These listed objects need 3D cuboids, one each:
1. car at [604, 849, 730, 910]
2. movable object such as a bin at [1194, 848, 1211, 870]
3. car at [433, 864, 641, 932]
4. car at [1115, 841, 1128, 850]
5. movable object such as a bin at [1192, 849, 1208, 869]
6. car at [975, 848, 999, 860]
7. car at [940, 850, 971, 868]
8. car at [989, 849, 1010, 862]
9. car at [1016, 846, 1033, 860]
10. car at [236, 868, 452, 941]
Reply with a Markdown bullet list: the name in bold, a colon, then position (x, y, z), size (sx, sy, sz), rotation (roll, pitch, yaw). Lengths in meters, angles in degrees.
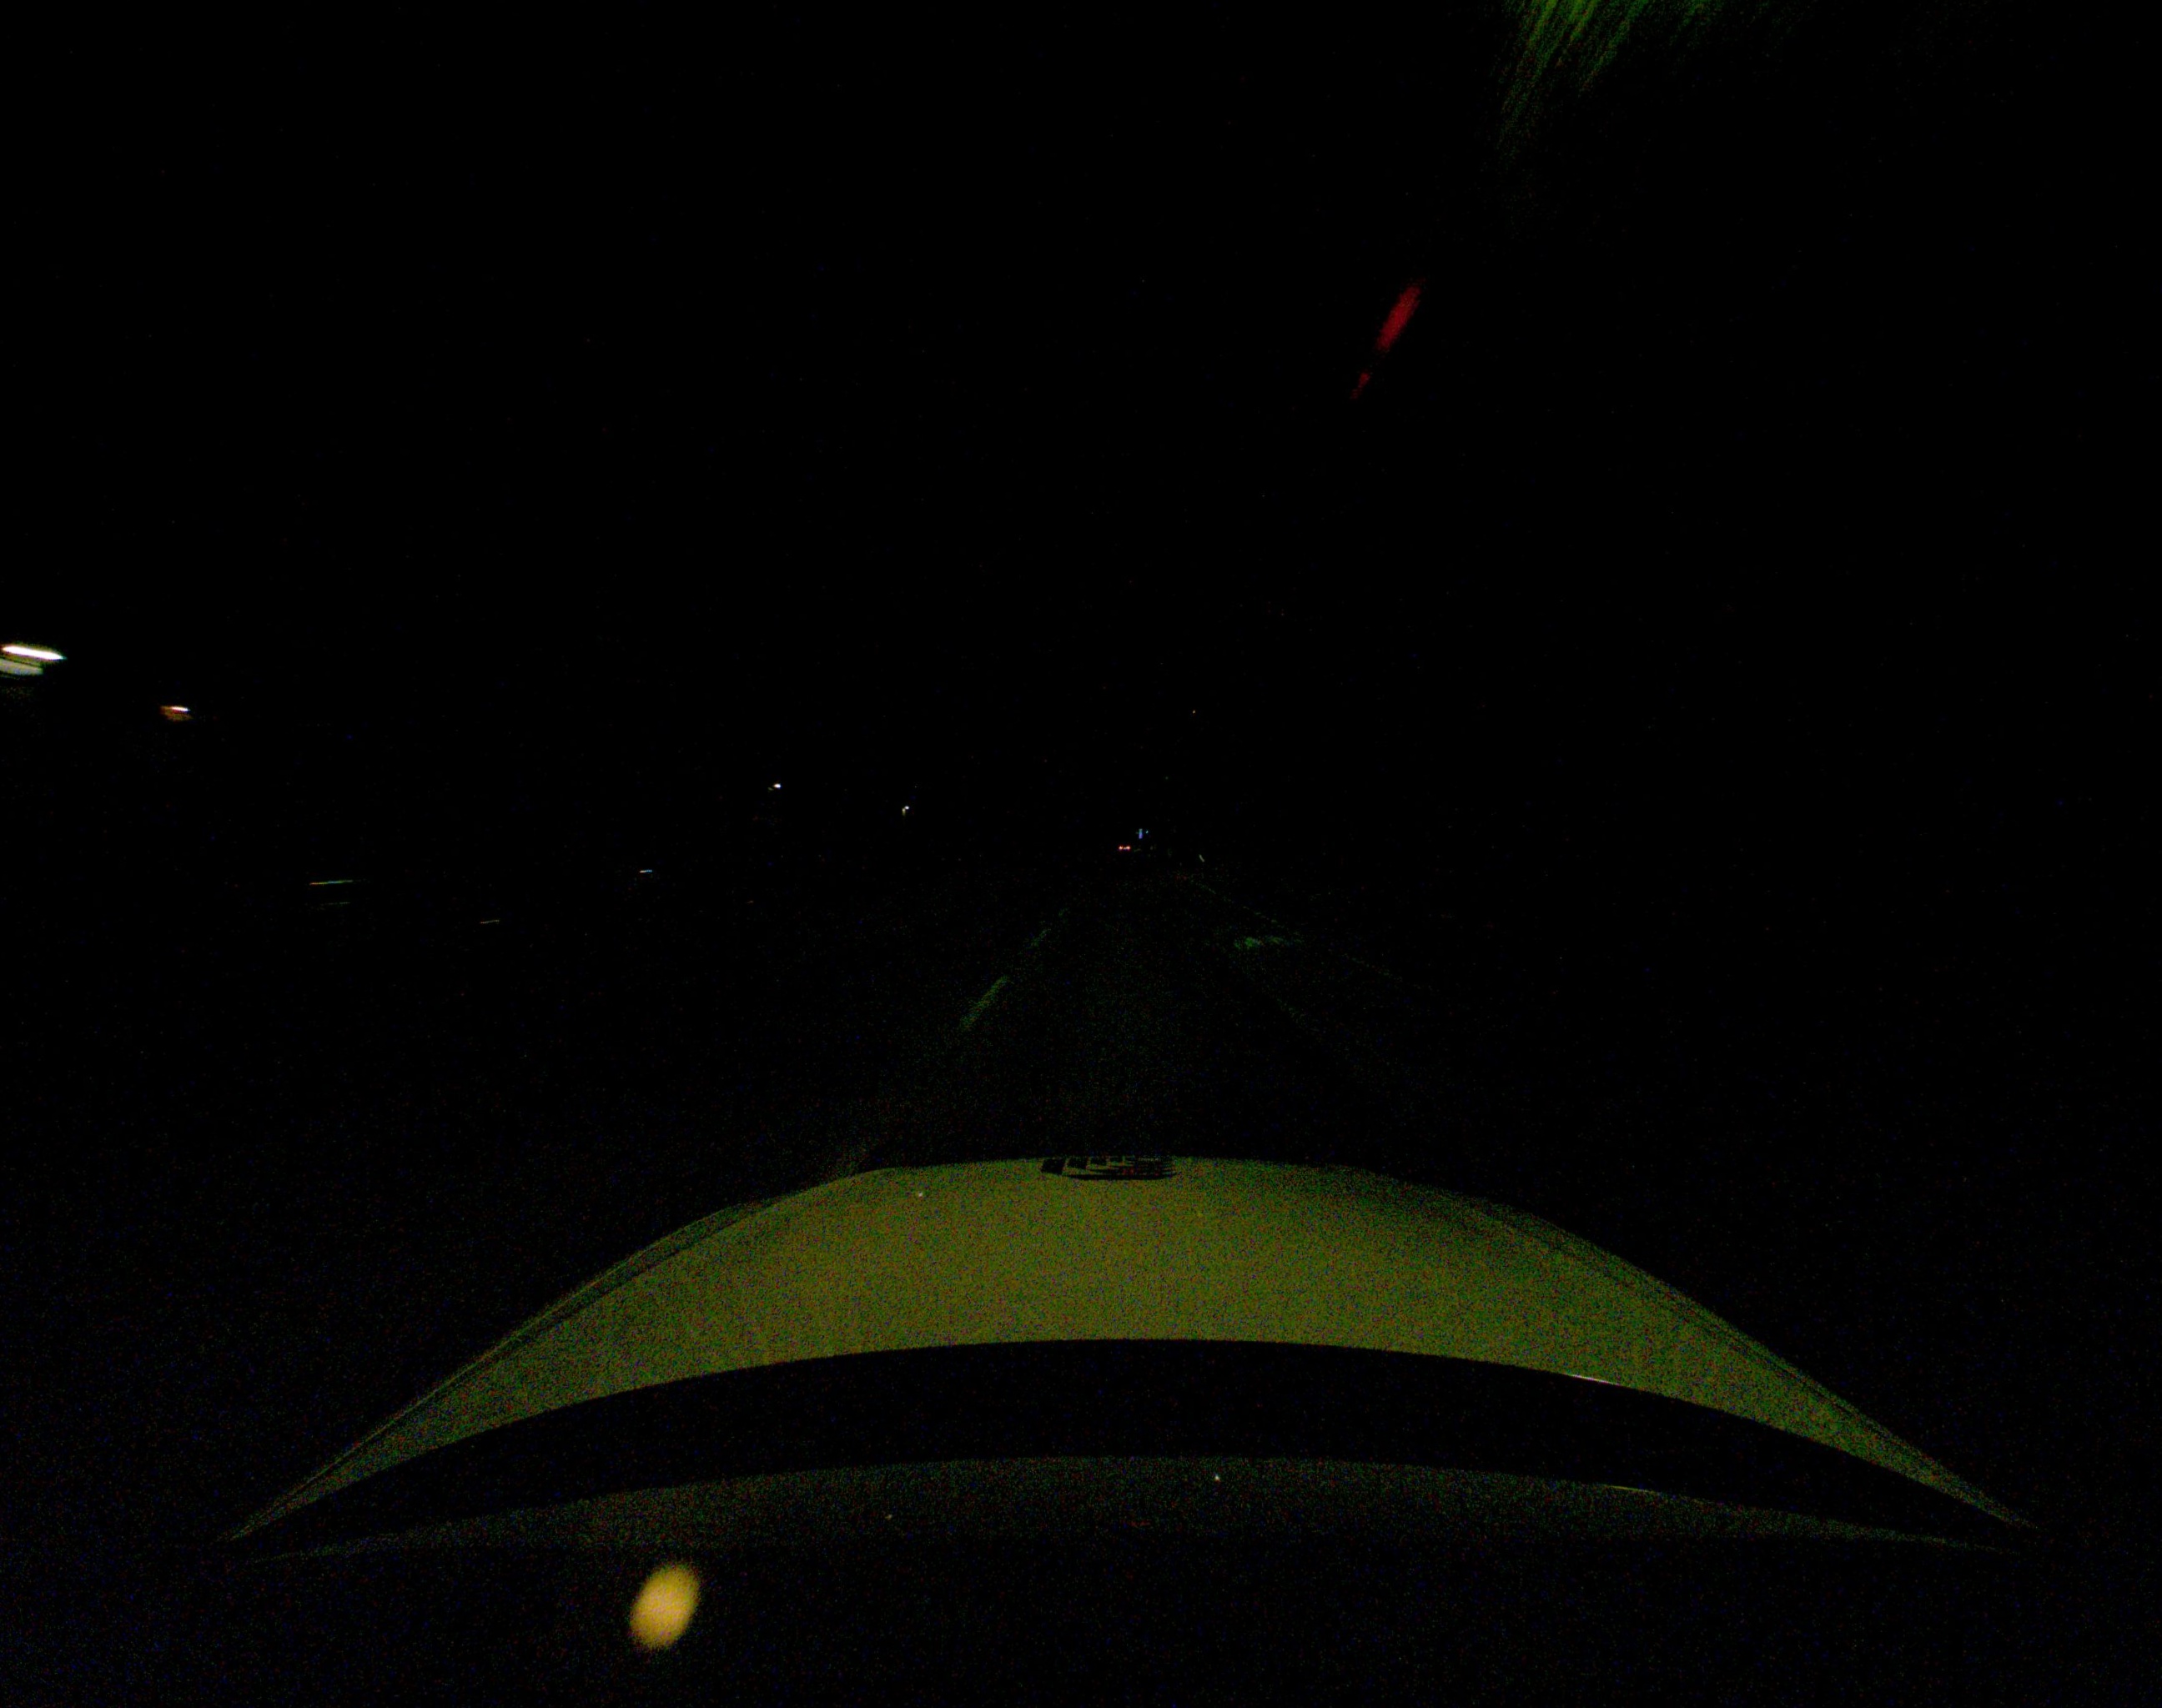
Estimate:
- **car**: position (-14.338, 0.804, 28.593), size (1.851, 1.904, 4.879), rotation (-2, 0, 0)
- **movable object such as a bin**: position (6.879, 0.267, 46.127), size (0.829, 1.181, 0.830), rotation (-2, 0, 5)
- **car**: position (-14.714, 1.108, 22.517), size (1.893, 1.522, 5.179), rotation (-2, 0, 5)
- **car**: position (7.187, -1.474, 145.109), size (2.155, 1.583, 4.012), rotation (-1, 0, 0)
- **movable object such as a bin**: position (6.881, 0.276, 47.004), size (0.853, 1.119, 0.842), rotation (-2, 0, 5)
- **car**: position (-11.053, 0.014, 96.460), size (1.986, 1.338, 5.435), rotation (-2, 0, 2)
- **car**: position (-11.802, 0.434, 76.740), size (1.986, 1.628, 4.680), rotation (-2, 0, 2)
- **car**: position (-10.257, 0.204, 102.338), size (1.986, 1.530, 4.003), rotation (-2, 1, 2)
- **car**: position (-8.772, -0.145, 127.085), size (2.083, 2.013, 4.003), rotation (-6, 1, 2)
- **car**: position (-15.297, 1.024, 17.024), size (3.021, 1.326, 1.532), rotation (-2, 0, -3)
